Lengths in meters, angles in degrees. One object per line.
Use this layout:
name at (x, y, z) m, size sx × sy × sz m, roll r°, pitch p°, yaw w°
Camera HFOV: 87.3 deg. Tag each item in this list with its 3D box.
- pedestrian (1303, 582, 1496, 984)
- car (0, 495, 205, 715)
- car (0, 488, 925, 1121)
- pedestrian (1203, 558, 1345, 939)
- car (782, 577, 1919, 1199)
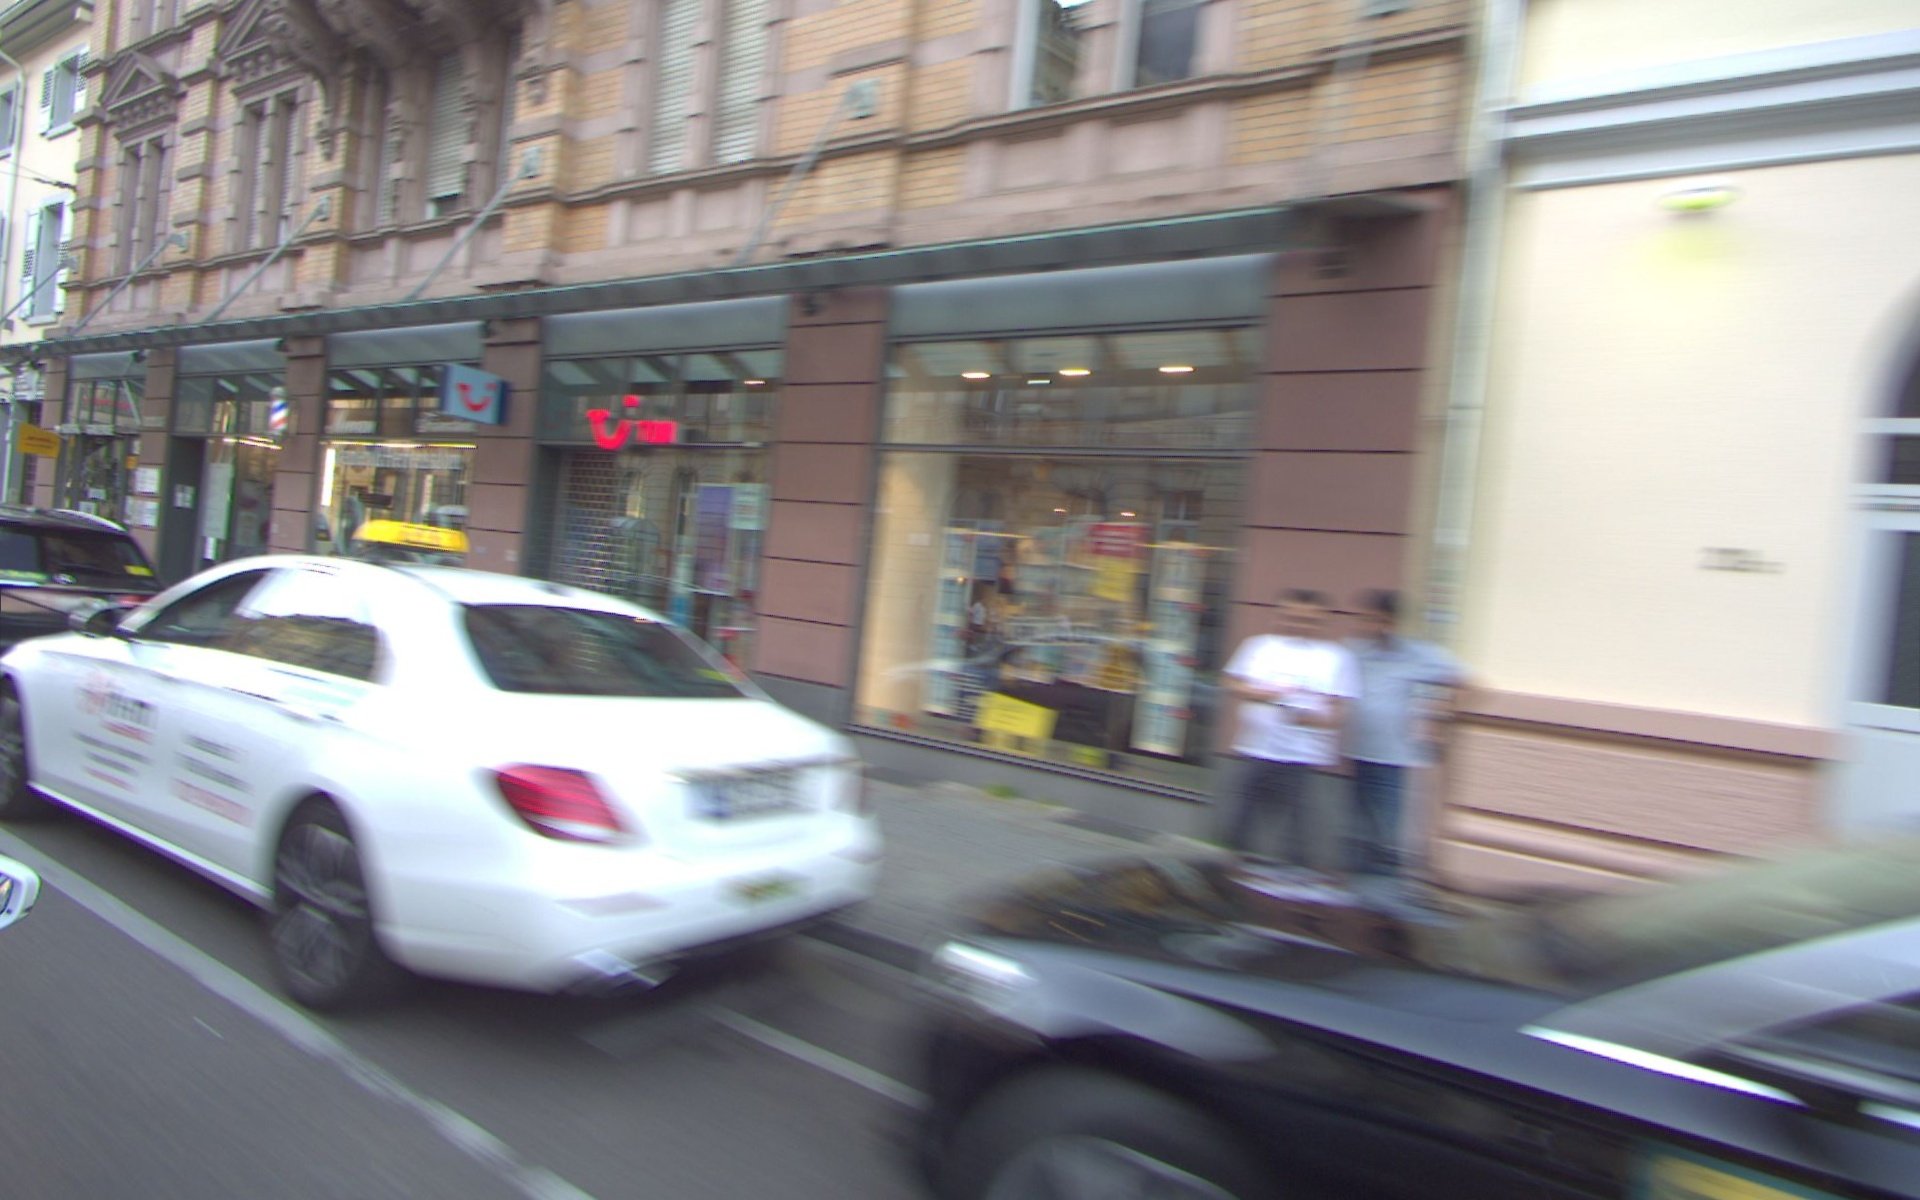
pedestrian at (2.130, 0.842, 4.886) m, size 0.652 × 1.792 × 0.373 m, roll 7°, pitch 3°, yaw 28°
car at (-8.424, -0.141, 8.321) m, size 4.740 × 1.494 × 1.729 m, roll 6°, pitch -2°, yaw 31°
car at (-2.702, 0.475, 4.605) m, size 4.784 × 1.528 × 1.736 m, roll 6°, pitch -3°, yaw 31°
pedestrian at (1.575, 0.713, 5.045) m, size 0.448 × 1.792 × 0.373 m, roll 7°, pitch 3°, yaw 28°
car at (1.933, 1.017, 1.799) m, size 4.371 × 1.608 × 1.735 m, roll 6°, pitch -3°, yaw 34°
